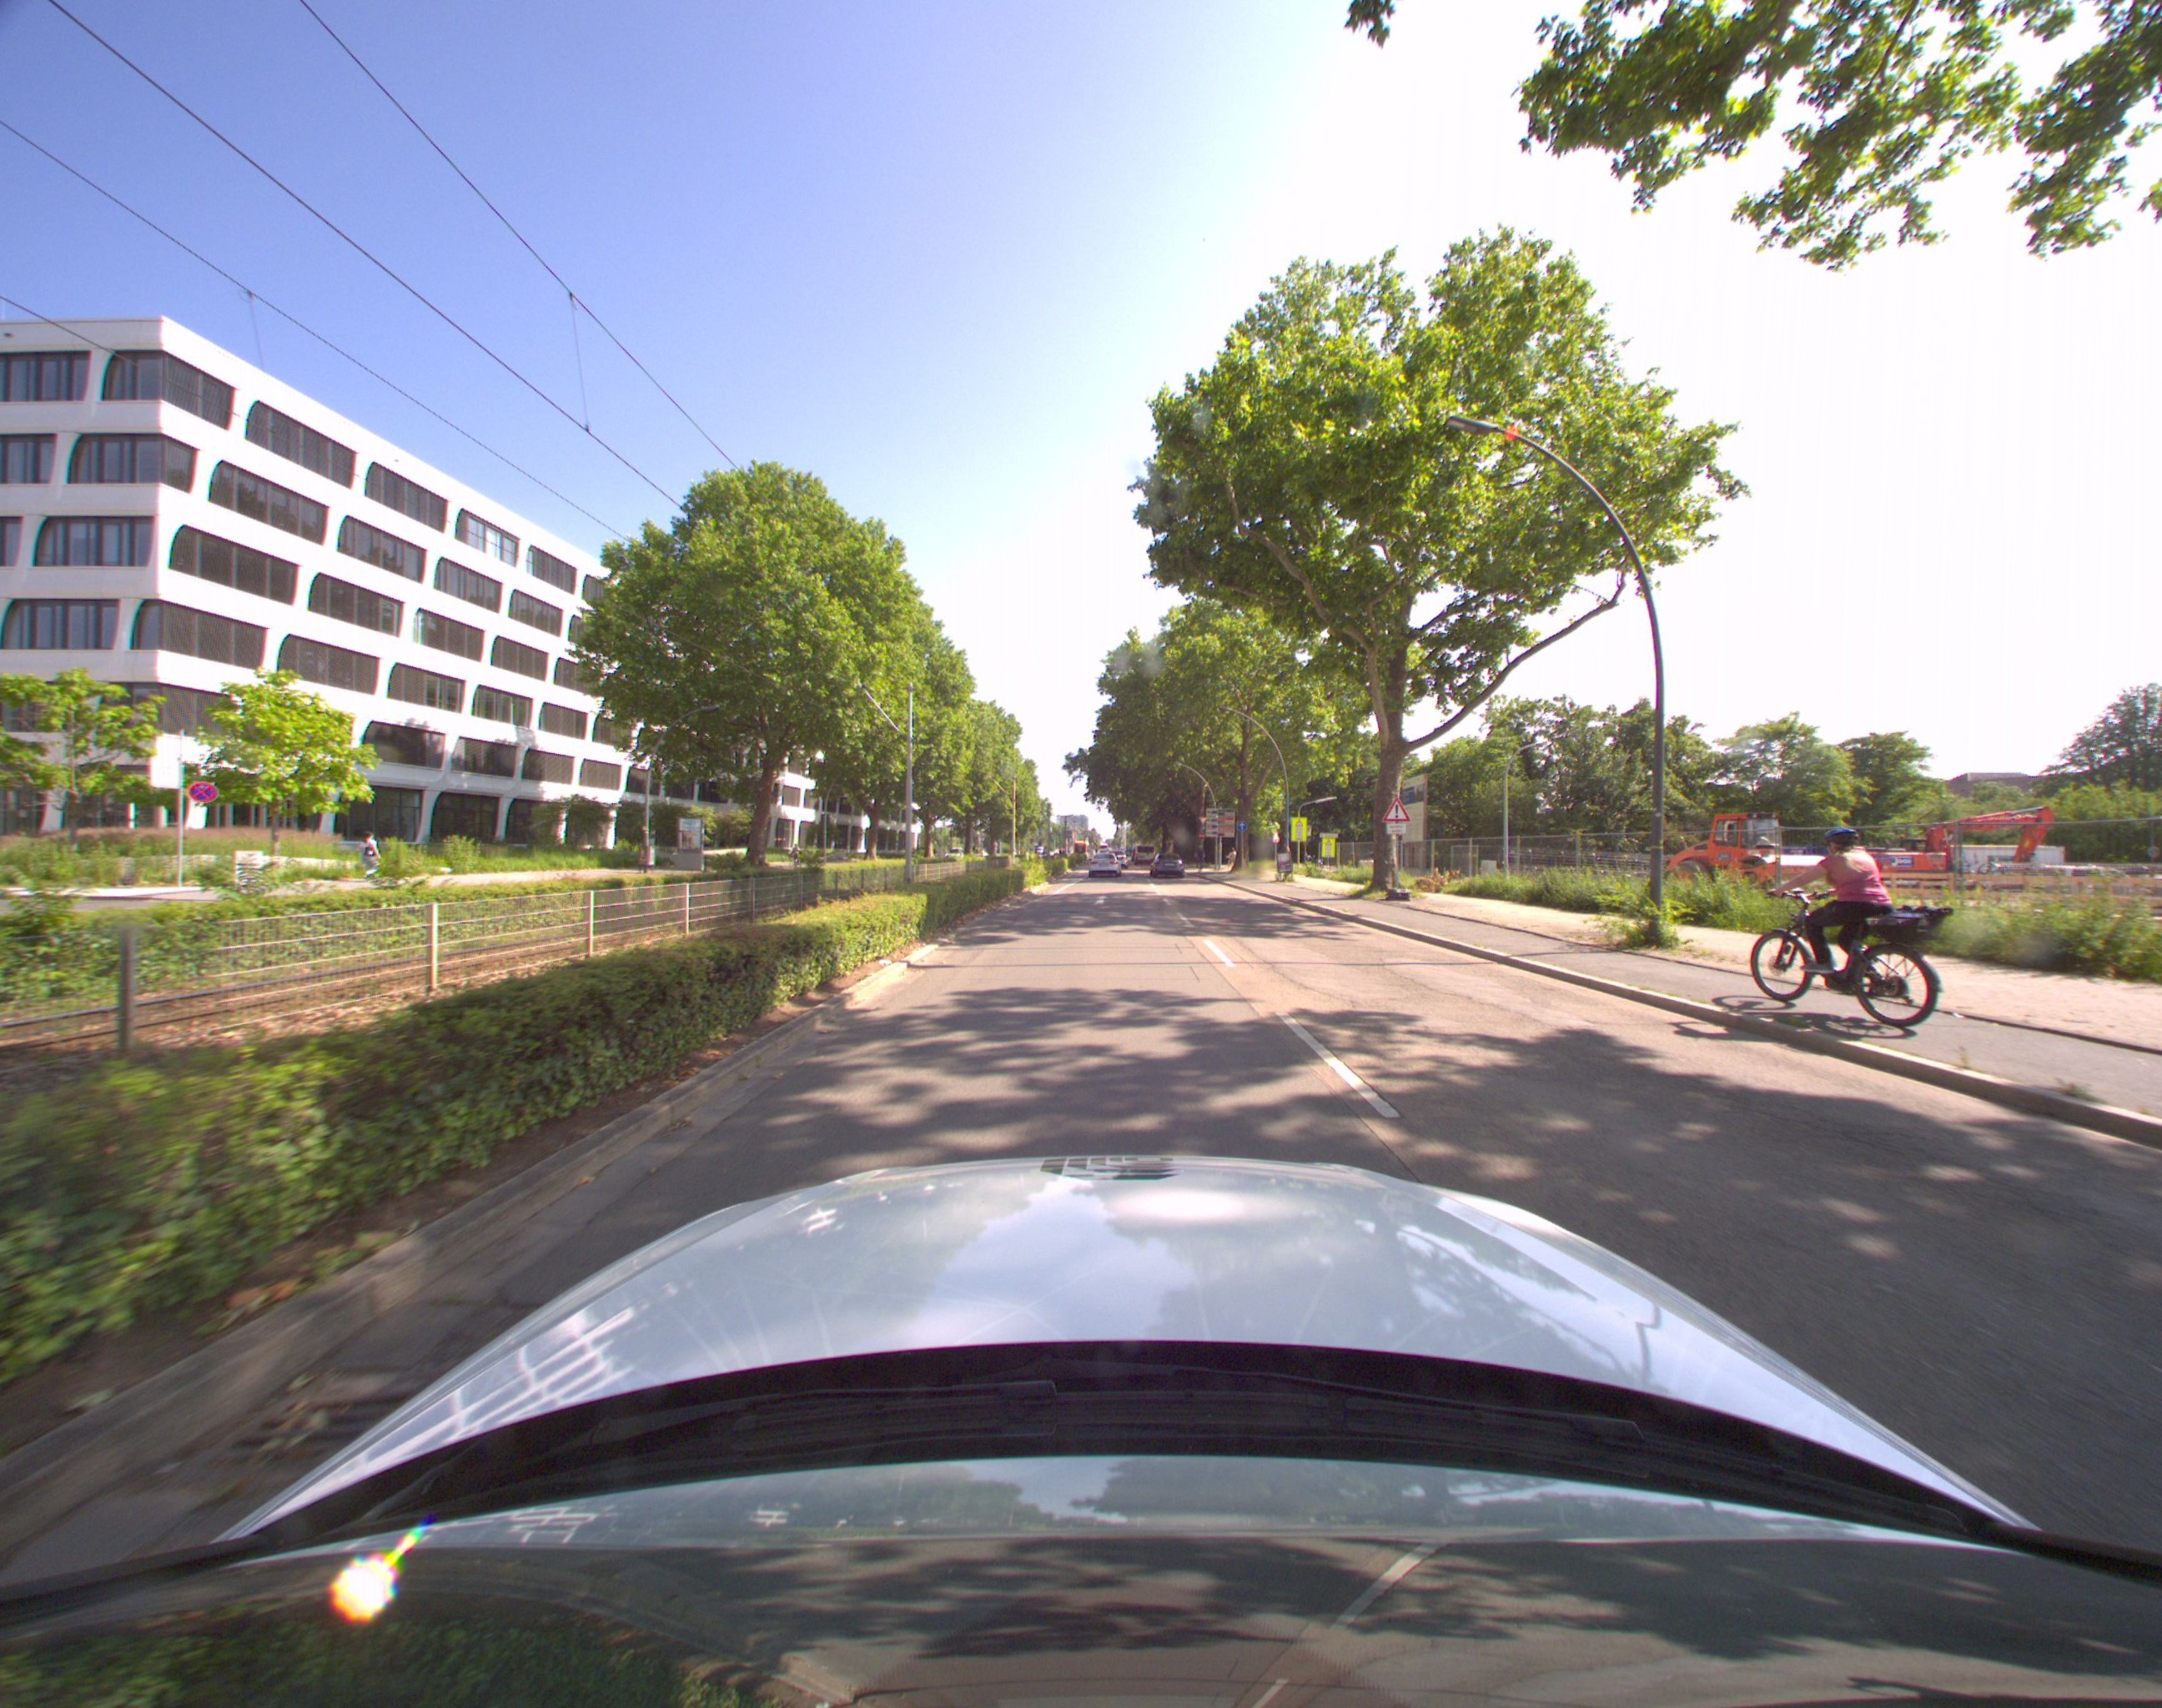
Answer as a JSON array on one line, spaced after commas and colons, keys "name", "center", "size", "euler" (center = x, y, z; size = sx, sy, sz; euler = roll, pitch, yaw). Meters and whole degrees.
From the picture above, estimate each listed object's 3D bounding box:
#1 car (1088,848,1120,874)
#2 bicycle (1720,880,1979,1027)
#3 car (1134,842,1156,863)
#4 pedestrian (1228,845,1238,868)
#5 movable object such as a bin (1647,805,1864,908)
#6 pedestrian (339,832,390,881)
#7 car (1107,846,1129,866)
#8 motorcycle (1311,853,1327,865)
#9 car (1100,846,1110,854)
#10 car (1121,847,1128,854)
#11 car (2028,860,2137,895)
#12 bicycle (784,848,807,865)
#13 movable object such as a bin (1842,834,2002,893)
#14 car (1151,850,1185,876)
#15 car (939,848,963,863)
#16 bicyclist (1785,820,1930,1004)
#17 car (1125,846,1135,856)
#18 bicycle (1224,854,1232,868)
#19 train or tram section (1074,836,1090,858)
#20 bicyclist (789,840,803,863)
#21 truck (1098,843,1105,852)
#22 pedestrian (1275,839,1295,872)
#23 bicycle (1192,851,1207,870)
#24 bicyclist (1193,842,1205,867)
[{"name": "car", "center": [1.375, 0.396, 47.351], "size": [1.777, 1.420, 3.888], "euler": [1, 0, 3]}, {"name": "bicycle", "center": [7.101, 0.852, 7.692], "size": [0.649, 1.129, 1.946], "euler": [-1, 0, 2]}, {"name": "car", "center": [6.760, -0.180, 86.441], "size": [2.221, 2.211, 4.165], "euler": [1, 0, 3]}, {"name": "pedestrian", "center": [12.273, 0.206, 65.801], "size": [0.629, 1.785, 0.875], "euler": [1, 0, 2]}, {"name": "movable object such as a bin", "center": [22.494, 0.036, 27.632], "size": [2.362, 3.071, 5.984], "euler": [1, 1, -1]}, {"name": "pedestrian", "center": [-23.553, 0.080, 26.781], "size": [0.717, 1.588, 1.015], "euler": [1, 0, 3]}, {"name": "car", "center": [3.055, 0.159, 67.448], "size": [1.722, 1.605, 3.888], "euler": [1, 0, 3]}, {"name": "motorcycle", "center": [19.729, 0.442, 67.478], "size": [1.217, 0.967, 0.470], "euler": [1, 0, -5]}, {"name": "car", "center": [4.737, -0.751, 160.724], "size": [1.722, 1.631, 4.003], "euler": [1, 0, 3]}, {"name": "car", "center": [11.818, -0.906, 221.103], "size": [1.722, 1.901, 4.003], "euler": [1, 0, 3]}, {"name": "car", "center": [53.270, 1.237, 43.354], "size": [3.500, 1.766, 1.814], "euler": [1, 0, 2]}, {"name": "bicycle", "center": [-18.972, 0.153, 54.135], "size": [0.661, 1.124, 2.032], "euler": [1, 0, 3]}, {"name": "movable object such as a bin", "center": [45.011, 0.478, 43.736], "size": [5.155, 2.975, 3.296], "euler": [1, 0, 2]}, {"name": "car", "center": [5.055, 0.492, 47.715], "size": [1.775, 1.420, 4.003], "euler": [1, 0, 3]}, {"name": "car", "center": [-14.097, 0.102, 88.487], "size": [1.749, 1.569, 4.021], "euler": [1, 0, 2]}, {"name": "bicyclist", "center": [7.106, 0.504, 7.488], "size": [0.617, 1.600, 0.732], "euler": [-1, 0, 0]}, {"name": "car", "center": [10.794, -0.685, 179.332], "size": [2.063, 1.999, 4.061], "euler": [1, 0, 3]}, {"name": "bicycle", "center": [11.848, 0.578, 65.655], "size": [0.348, 1.082, 1.700], "euler": [1, 0, 2]}, {"name": "train or tram section", "center": [0.225, -1.372, 152.637], "size": [2.606, 4.015, 7.755], "euler": [1, 0, 3]}, {"name": "bicyclist", "center": [-18.963, -0.187, 54.188], "size": [0.652, 1.535, 0.641], "euler": [1, 0, 3]}, {"name": "truck", "center": [6.624, -2.046, 261.440], "size": [1.985, 2.790, 8.525], "euler": [1, 0, 3]}, {"name": "pedestrian", "center": [11.783, 0.093, 47.061], "size": [0.935, 1.892, 1.152], "euler": [1, 0, 2]}, {"name": "bicycle", "center": [8.195, 0.435, 56.340], "size": [0.712, 1.148, 2.179], "euler": [-2, 2, 2]}, {"name": "bicyclist", "center": [8.173, 0.022, 56.379], "size": [0.632, 1.648, 0.980], "euler": [-2, 2, 2]}]
